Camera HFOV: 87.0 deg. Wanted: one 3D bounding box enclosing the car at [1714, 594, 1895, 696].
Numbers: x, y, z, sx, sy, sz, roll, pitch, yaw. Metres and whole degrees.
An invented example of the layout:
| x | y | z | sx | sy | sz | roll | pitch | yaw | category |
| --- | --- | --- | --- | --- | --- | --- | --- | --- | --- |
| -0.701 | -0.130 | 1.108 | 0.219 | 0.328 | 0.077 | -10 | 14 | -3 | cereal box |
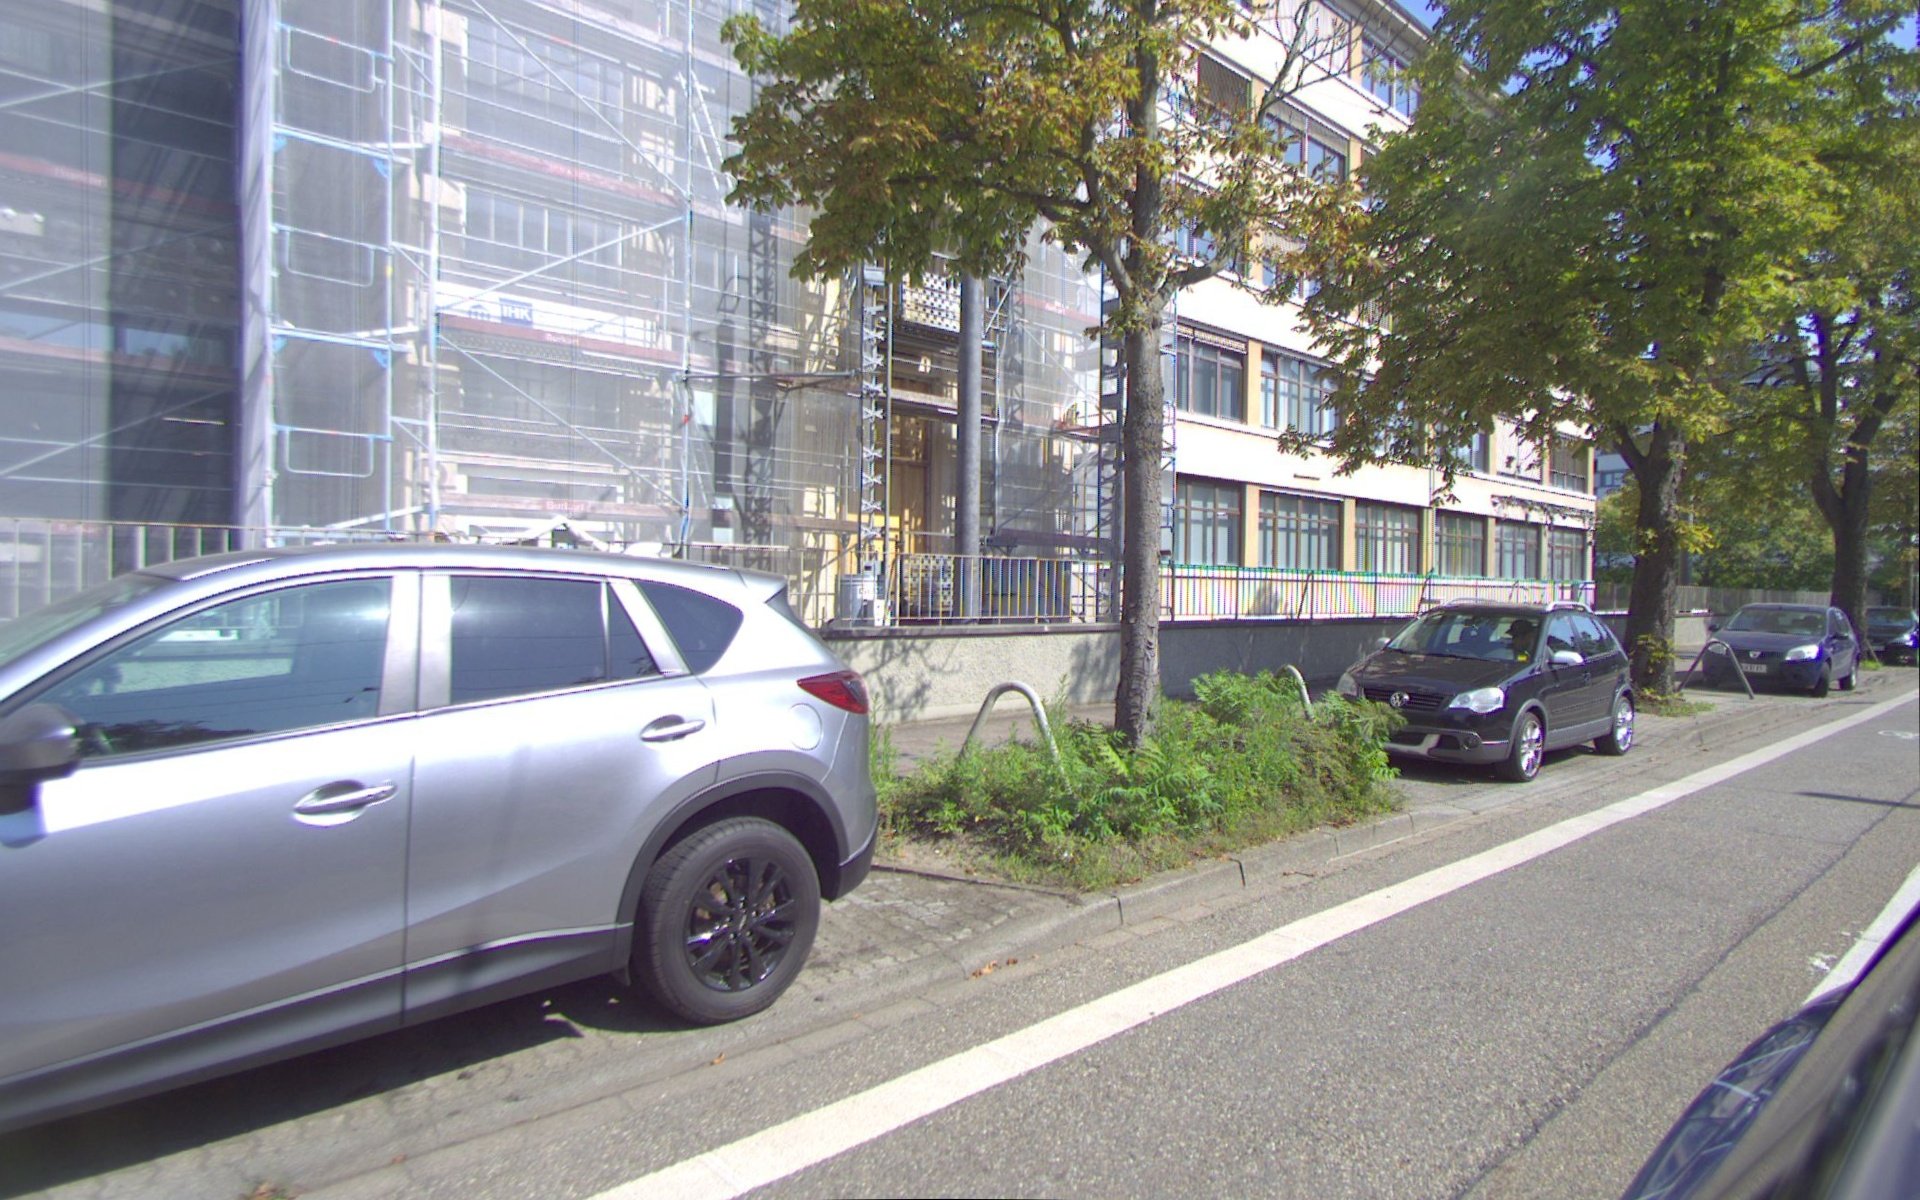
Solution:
| x | y | z | sx | sy | sz | roll | pitch | yaw | category |
| --- | --- | --- | --- | --- | --- | --- | --- | --- | --- |
| 15.134 | 0.707 | 18.070 | 4.142 | 1.575 | 1.747 | 0 | 2 | -40 | car |

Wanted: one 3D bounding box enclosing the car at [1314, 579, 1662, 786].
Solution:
| x | y | z | sx | sy | sz | roll | pitch | yaw | category |
| --- | --- | --- | --- | --- | --- | --- | --- | --- | --- |
| 5.256 | 0.629 | 9.830 | 4.115 | 1.605 | 1.636 | 0 | 0 | -41 | car |

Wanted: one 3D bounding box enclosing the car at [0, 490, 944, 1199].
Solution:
| x | y | z | sx | sy | sz | roll | pitch | yaw | category |
| --- | --- | --- | --- | --- | --- | --- | --- | --- | --- |
| -2.243 | 0.589 | 3.339 | 4.286 | 1.689 | 1.743 | 0 | 0 | -41 | car |

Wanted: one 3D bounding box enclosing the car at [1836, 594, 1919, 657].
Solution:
| x | y | z | sx | sy | sz | roll | pitch | yaw | category |
| --- | --- | --- | --- | --- | --- | --- | --- | --- | --- |
| 23.661 | 0.582 | 25.565 | 4.142 | 1.425 | 1.663 | 0 | 2 | -40 | car |
